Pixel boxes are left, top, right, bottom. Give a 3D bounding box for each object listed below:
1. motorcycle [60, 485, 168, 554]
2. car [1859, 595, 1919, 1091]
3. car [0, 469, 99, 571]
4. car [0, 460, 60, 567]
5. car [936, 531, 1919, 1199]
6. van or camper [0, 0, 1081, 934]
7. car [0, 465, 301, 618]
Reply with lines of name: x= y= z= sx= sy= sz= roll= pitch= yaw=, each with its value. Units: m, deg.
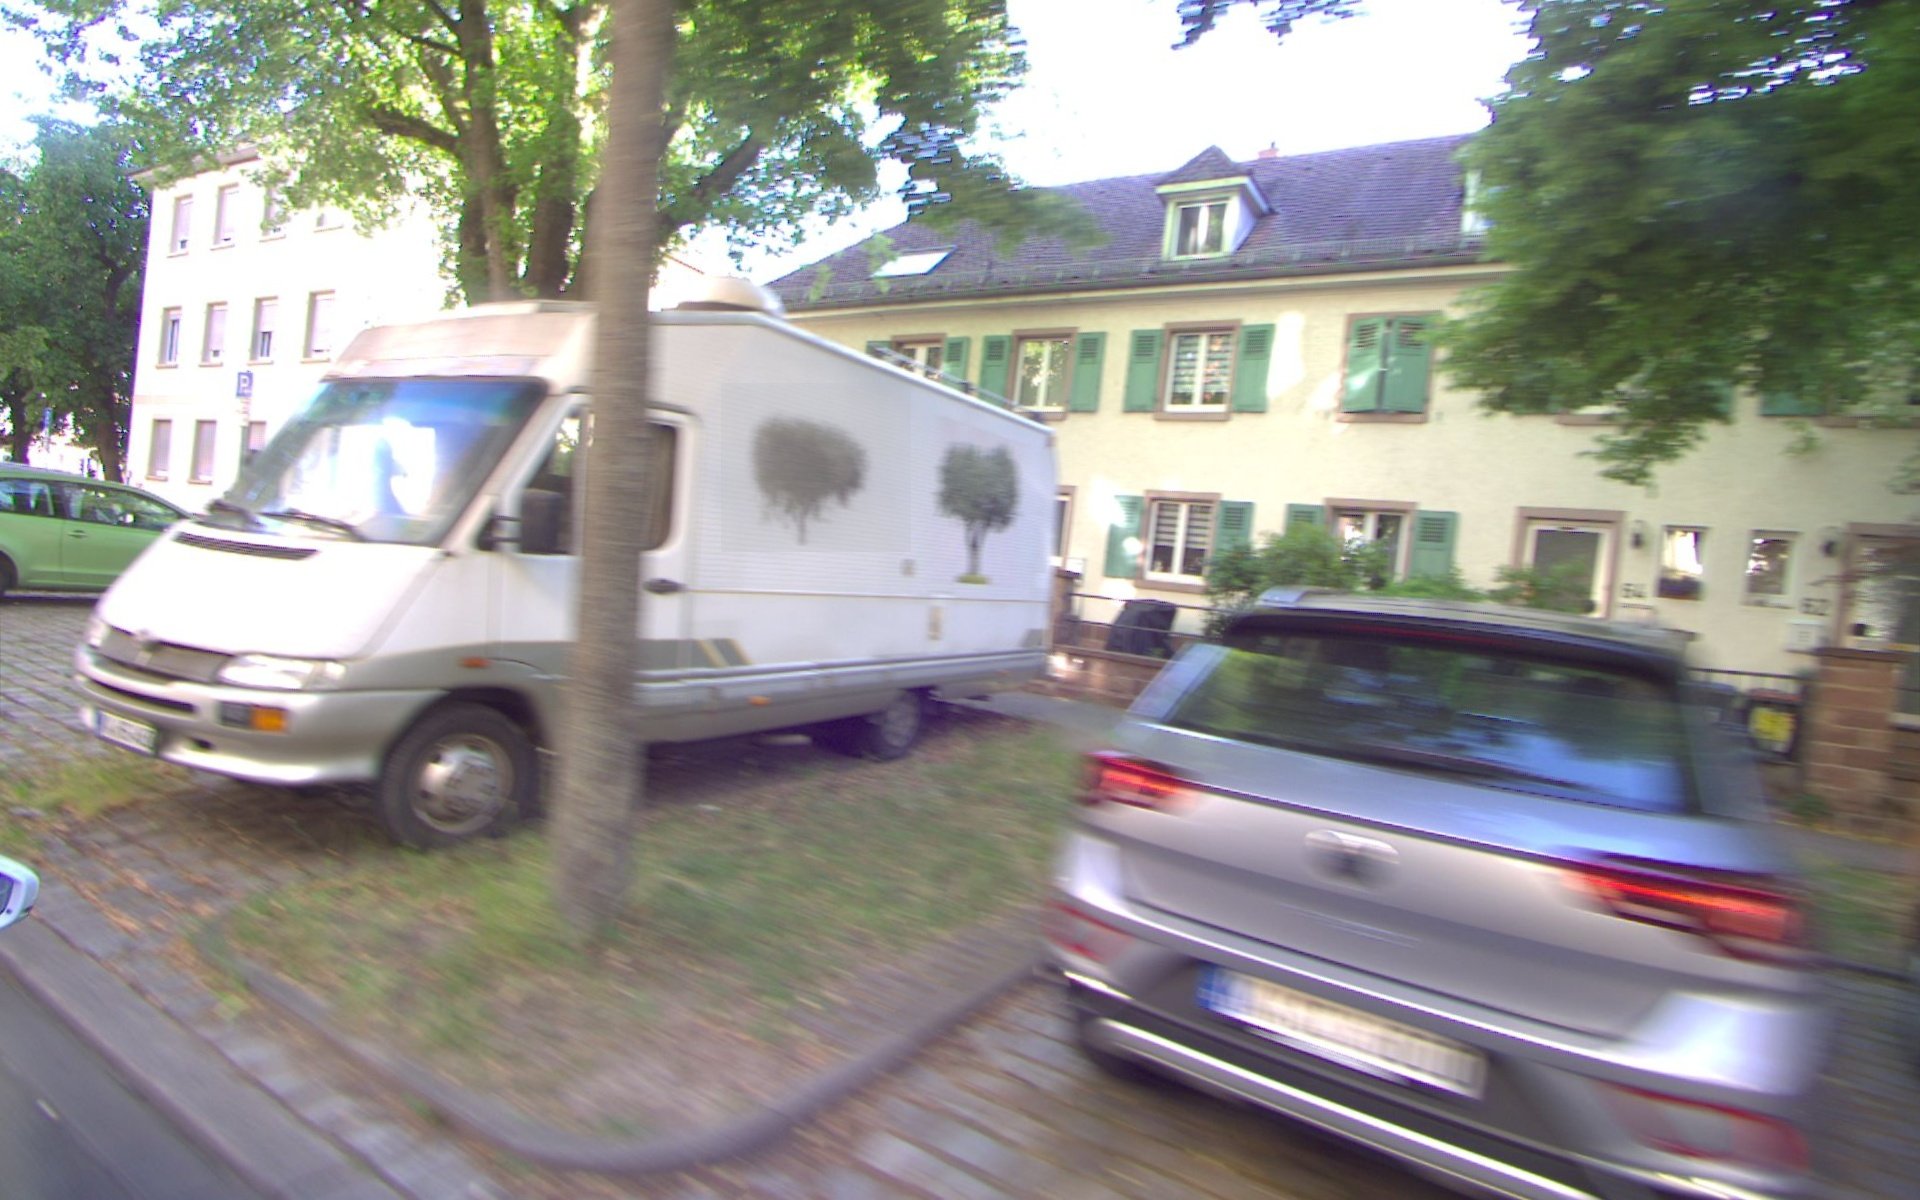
motorcycle: x=-19.452 y=-1.855 z=23.126 sx=2.143 sy=1.296 sz=0.977 roll=7 pitch=1 yaw=24
car: x=3.595 y=0.897 z=2.110 sx=1.701 sy=1.768 sz=3.914 roll=6 pitch=2 yaw=31
car: x=-15.058 y=-1.282 z=14.171 sx=1.763 sy=1.431 sz=4.104 roll=7 pitch=3 yaw=32
car: x=-17.040 y=-1.610 z=16.013 sx=1.677 sy=1.671 sz=3.694 roll=7 pitch=0 yaw=35
car: x=1.872 y=0.753 z=3.697 sx=1.873 sy=1.620 sz=3.959 roll=6 pitch=3 yaw=34
van or camper: x=-1.796 y=-0.371 z=6.964 sx=2.422 sy=3.116 sz=7.087 roll=7 pitch=0 yaw=29
car: x=-10.272 y=-0.702 z=12.011 sx=1.650 sy=1.525 sz=3.590 roll=8 pitch=2 yaw=32
